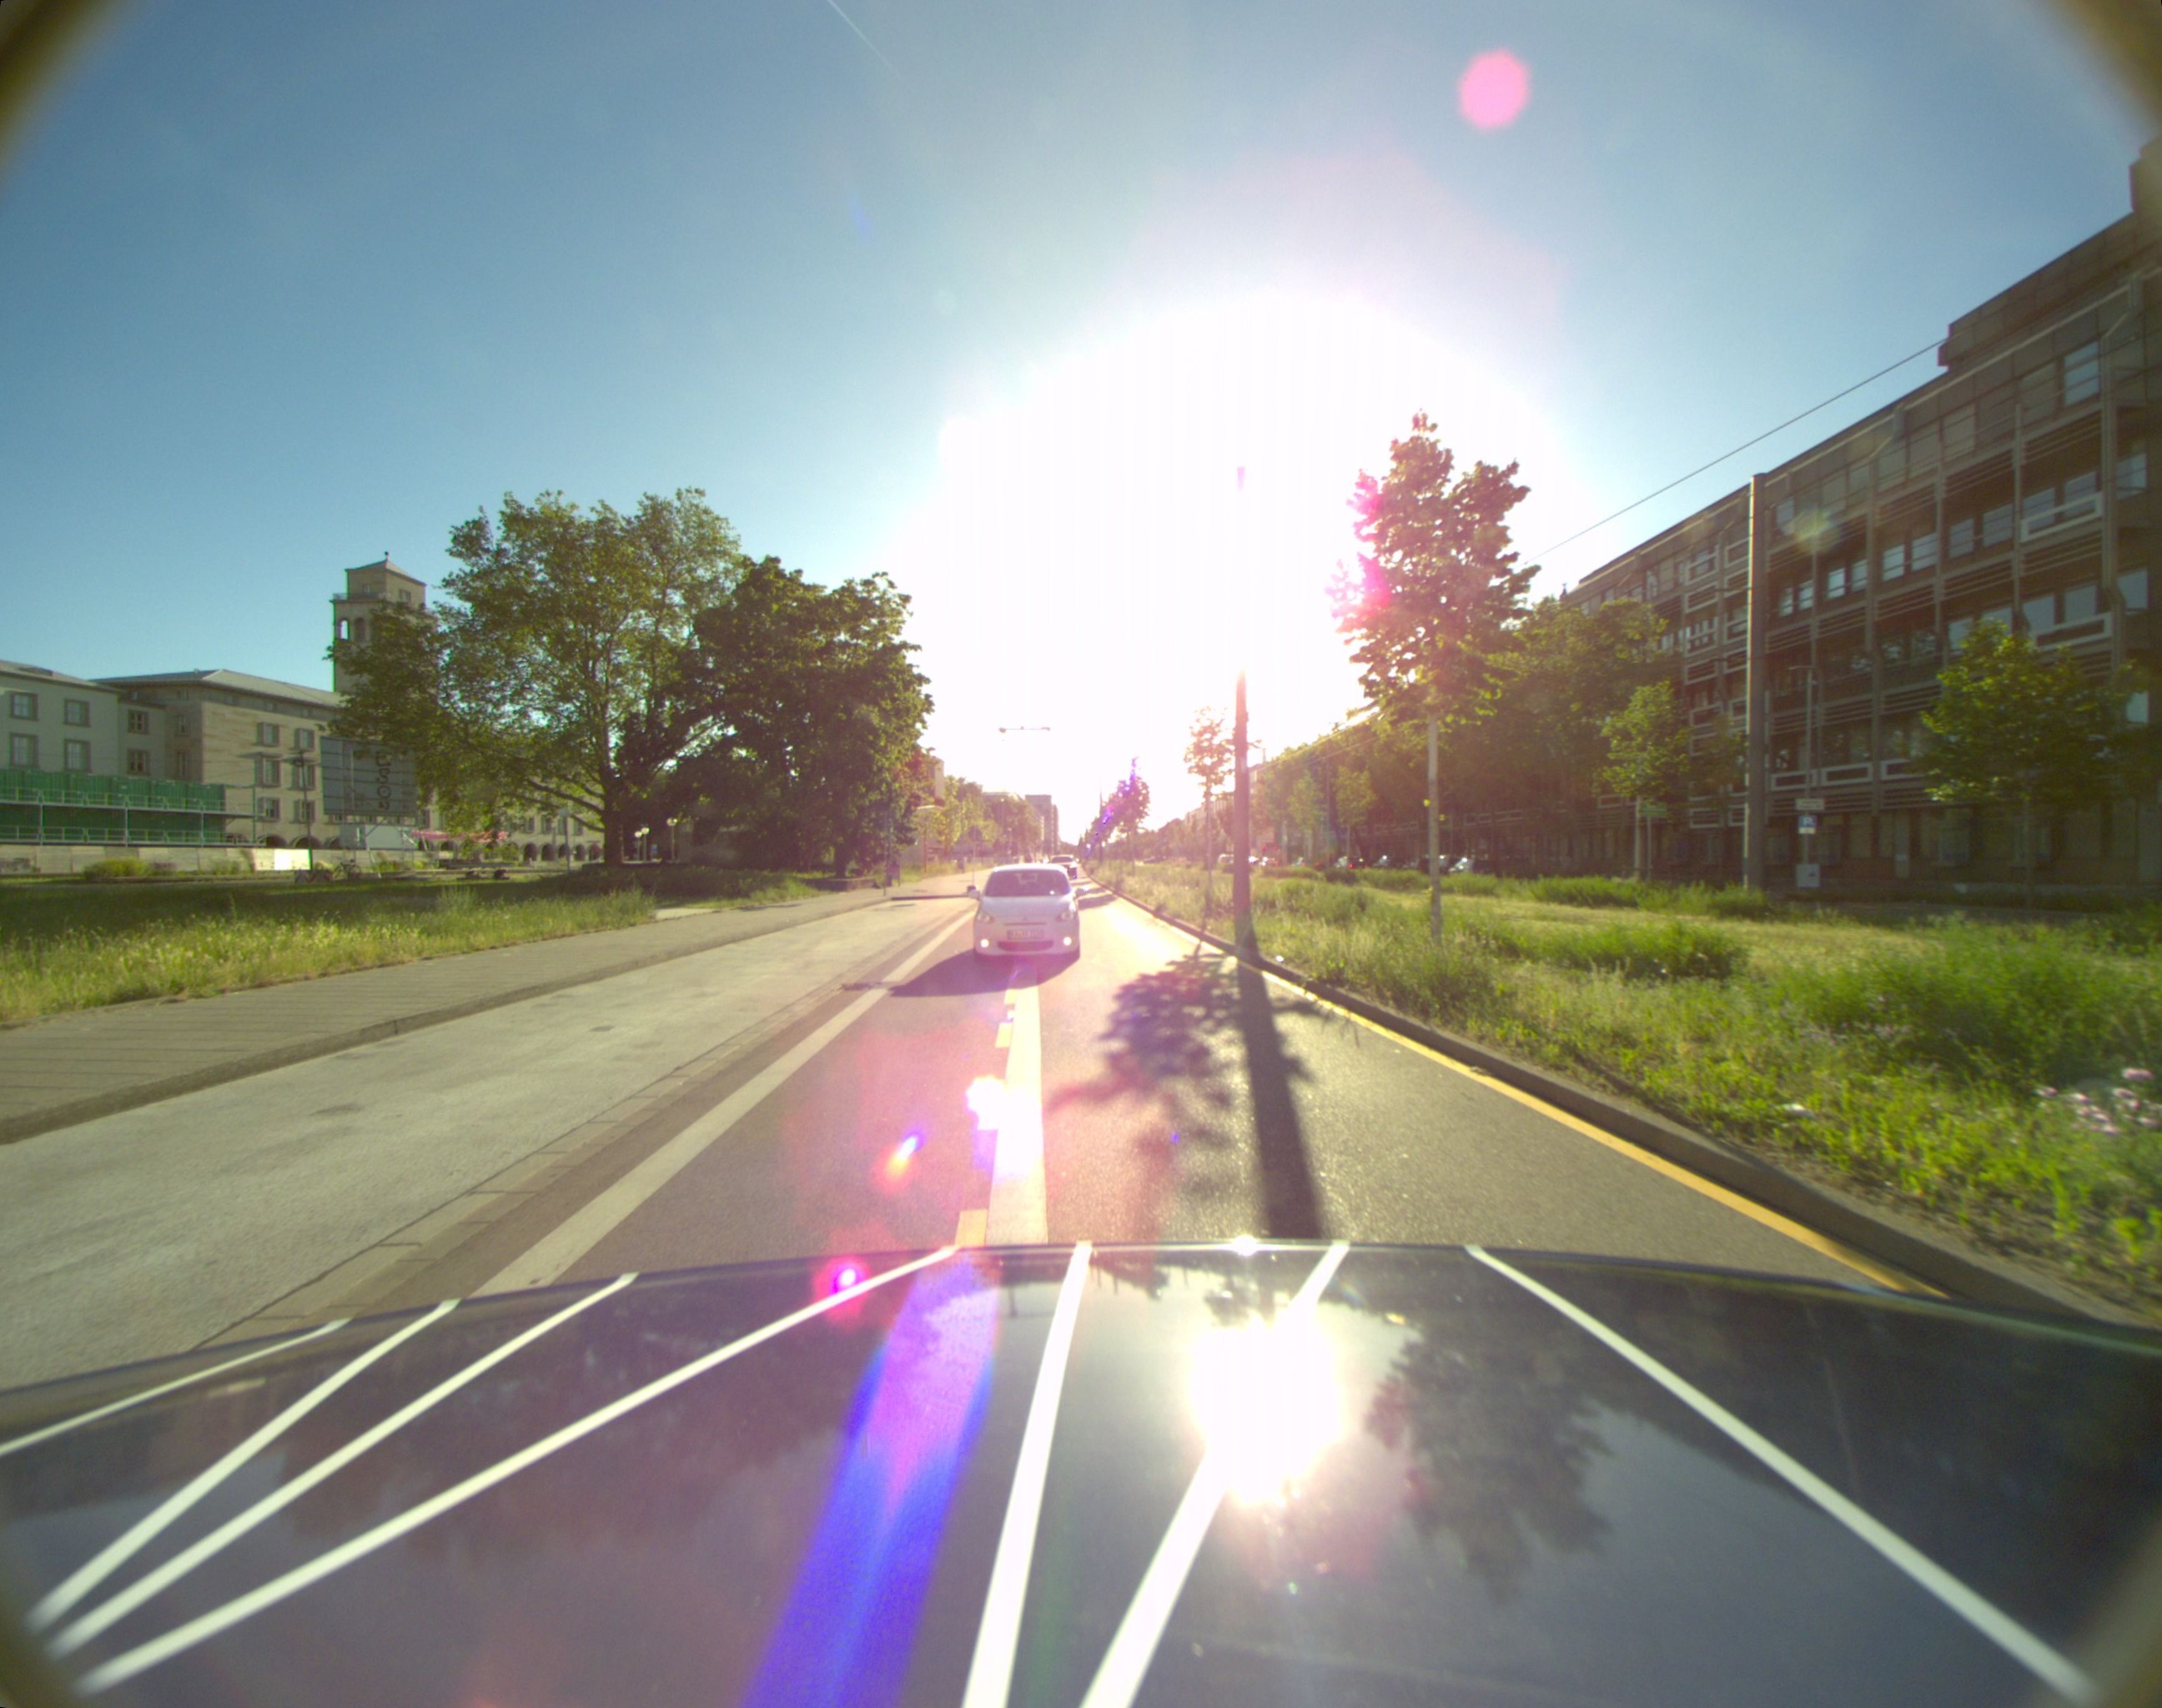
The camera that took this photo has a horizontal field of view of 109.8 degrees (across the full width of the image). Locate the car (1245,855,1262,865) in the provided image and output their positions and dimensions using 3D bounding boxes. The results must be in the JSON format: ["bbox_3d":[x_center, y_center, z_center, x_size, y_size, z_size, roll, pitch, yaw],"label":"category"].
[{"bbox_3d":[24.395,0.797,107.344,1.555,1.371,3.779,0,0,0],"label":"car"}]

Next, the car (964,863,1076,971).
[{"bbox_3d":[-1.013,0.968,13.199,1.615,1.489,3.393,-3,1,-3],"label":"car"}]

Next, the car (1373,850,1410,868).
[{"bbox_3d":[28.719,0.423,70.357,1.726,1.592,3.630,-2,0,-2],"label":"car"}]

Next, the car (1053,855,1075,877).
[{"bbox_3d":[-1.199,0.821,52.860,1.459,1.472,3.527,0,0,-2],"label":"car"}]

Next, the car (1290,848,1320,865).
[{"bbox_3d":[20.472,0.224,69.520,1.632,1.487,3.779,0,0,0],"label":"car"}]

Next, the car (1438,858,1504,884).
[{"bbox_3d":[22.127,0.935,43.305,1.720,1.379,4.039,0,0,0],"label":"car"}]

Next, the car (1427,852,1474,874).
[{"bbox_3d":[28.496,0.672,58.748,1.726,1.535,3.630,-2,0,-2],"label":"car"}]

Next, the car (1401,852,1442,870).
[{"bbox_3d":[28.967,0.556,64.668,1.726,1.477,3.630,-1,0,-2],"label":"car"}]

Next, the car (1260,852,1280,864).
[{"bbox_3d":[24.121,0.498,96.953,1.632,1.487,3.779,0,0,0],"label":"car"}]

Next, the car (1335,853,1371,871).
[{"bbox_3d":[23.625,0.653,66.130,1.632,1.487,4.416,0,0,0],"label":"car"}]

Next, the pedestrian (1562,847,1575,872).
[{"bbox_3d":[34.094,0.416,53.163,0.483,1.739,0.639,0,1,0],"label":"pedestrian"}]

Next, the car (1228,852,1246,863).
[{"bbox_3d":[20.828,0.440,101.453,1.555,1.371,3.779,0,0,0],"label":"car"}]

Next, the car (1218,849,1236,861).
[{"bbox_3d":[21.369,0.164,111.403,1.865,1.671,3.779,0,0,0],"label":"car"}]
